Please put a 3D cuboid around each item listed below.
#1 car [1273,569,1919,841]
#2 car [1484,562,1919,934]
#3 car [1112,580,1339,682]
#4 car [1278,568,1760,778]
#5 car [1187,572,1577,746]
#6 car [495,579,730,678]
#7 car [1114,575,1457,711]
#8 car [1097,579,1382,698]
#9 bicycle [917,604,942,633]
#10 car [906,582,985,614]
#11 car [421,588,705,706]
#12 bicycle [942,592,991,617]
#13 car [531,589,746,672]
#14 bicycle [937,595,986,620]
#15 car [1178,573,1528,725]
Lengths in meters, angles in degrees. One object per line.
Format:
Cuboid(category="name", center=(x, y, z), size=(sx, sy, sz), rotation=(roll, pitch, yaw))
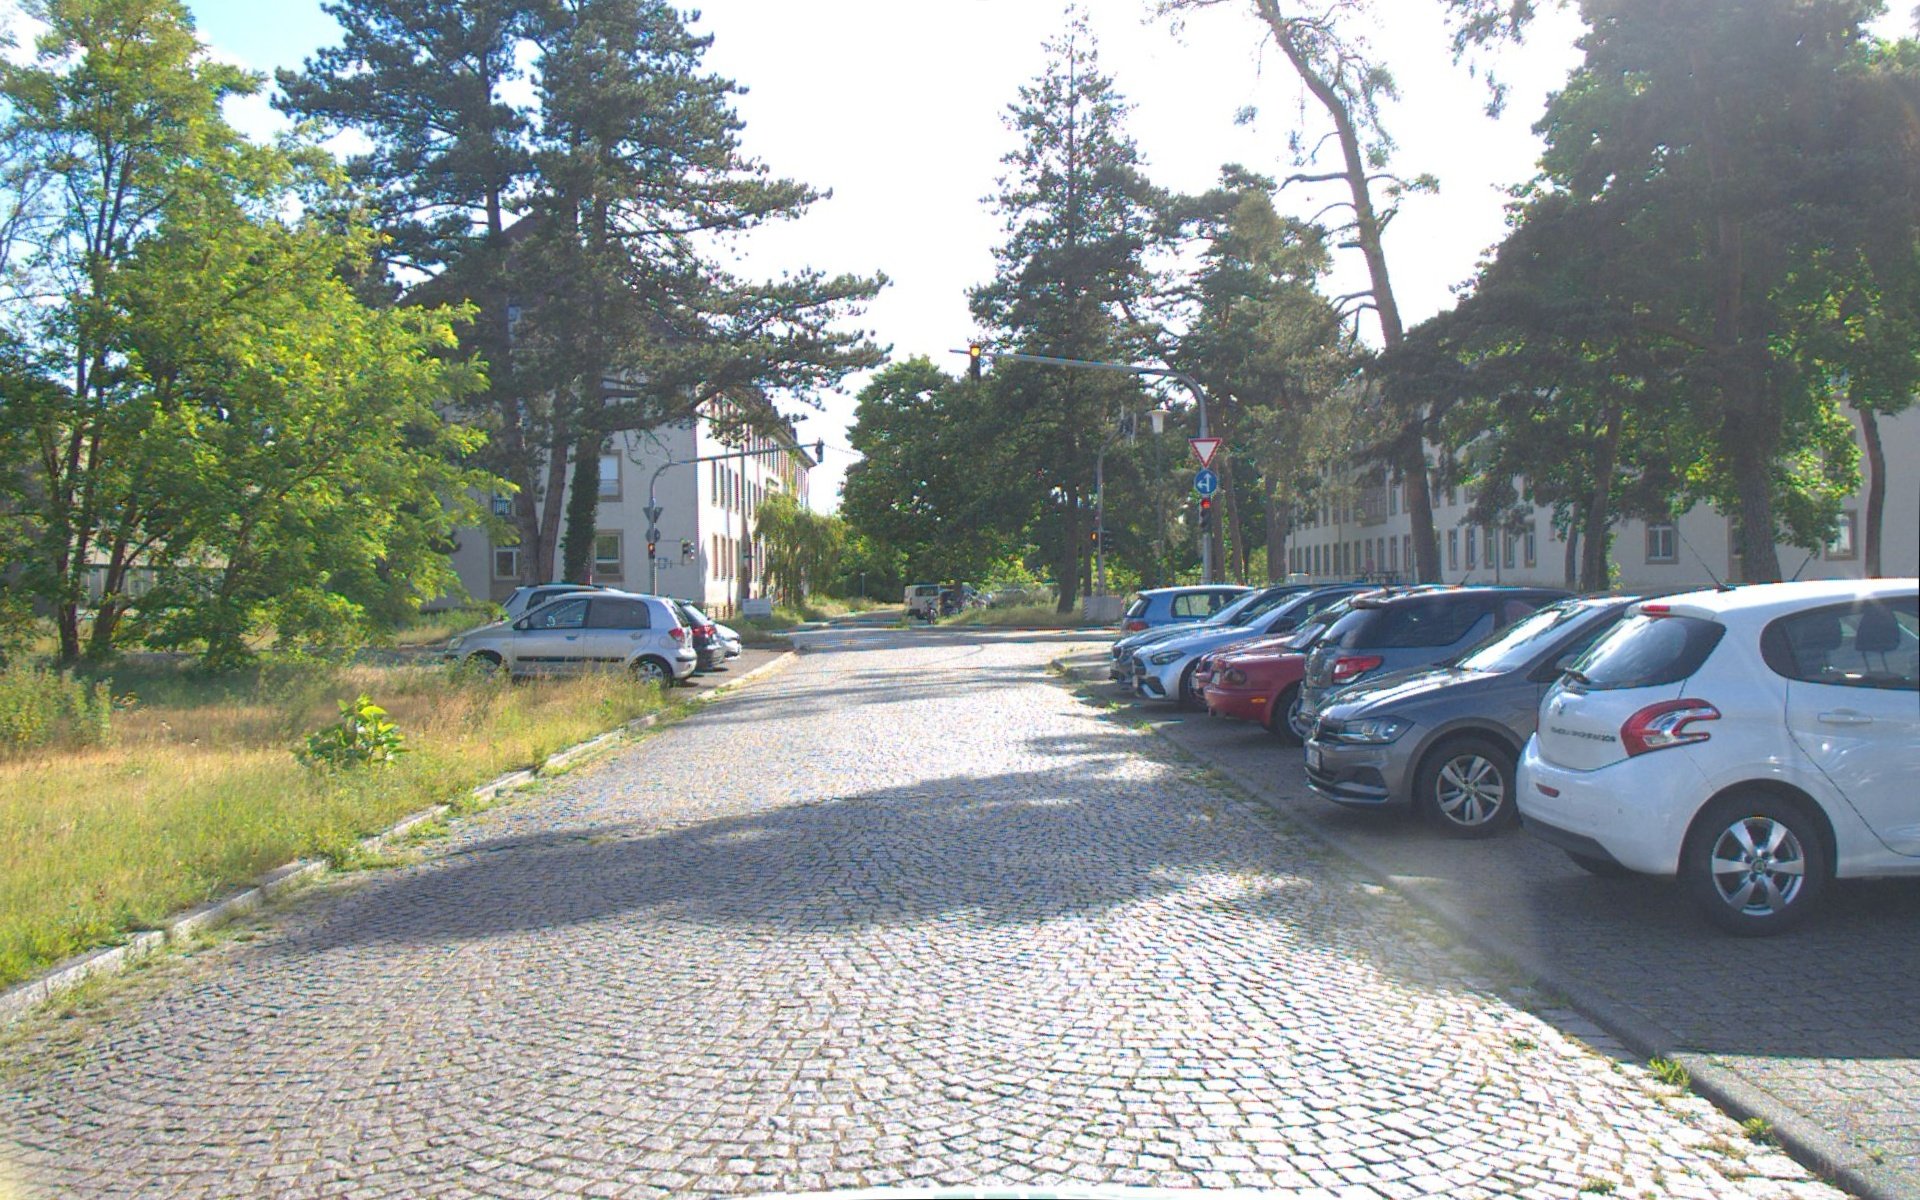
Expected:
Cuboid(category="car", center=(4.036, 0.618, 10.777), size=(3.602, 1.492, 1.645), rotation=(-2, 0, -3))
Cuboid(category="car", center=(4.604, 0.578, 7.903), size=(3.619, 1.491, 1.645), rotation=(-3, 0, -1))
Cuboid(category="car", center=(4.179, 0.470, 26.344), size=(3.276, 1.508, 1.645), rotation=(-1, 0, -3))
Cuboid(category="car", center=(4.528, 0.556, 13.708), size=(3.408, 1.556, 1.645), rotation=(-1, 0, -3))
Cuboid(category="car", center=(4.095, 0.543, 16.390), size=(3.408, 1.556, 1.645), rotation=(-1, 0, -3))
Cuboid(category="car", center=(-6.378, 0.500, 30.699), size=(3.907, 1.629, 1.999), rotation=(2, 0, -2))
Cuboid(category="car", center=(4.051, 0.511, 20.929), size=(3.955, 1.556, 1.644), rotation=(-1, 0, -5))
Cuboid(category="car", center=(3.941, 0.517, 23.698), size=(3.759, 1.556, 1.645), rotation=(-1, 0, -3))
Cuboid(category="bicycle", center=(-1.331, 0.781, 71.746), size=(0.789, 1.190, 2.177), rotation=(-3, 1, -7))
Cuboid(category="car", center=(-0.819, -0.126, 92.692), size=(4.390, 1.758, 1.999), rotation=(-1, 0, -2))
Cuboid(category="car", center=(-5.982, 0.676, 25.319), size=(3.908, 1.628, 1.998), rotation=(-1, 0, -4))
Cuboid(category="bicycle", center=(0.299, 0.193, 76.384), size=(2.134, 1.119, 0.805), rotation=(-1, 0, -11))
Cuboid(category="car", center=(-6.359, 0.586, 33.101), size=(3.907, 1.478, 1.999), rotation=(2, 0, -2))
Cuboid(category="bicycle", center=(0.059, 0.330, 75.241), size=(2.134, 1.119, 0.805), rotation=(-1, 0, -11))
Cuboid(category="car", center=(4.381, 0.520, 18.754), size=(3.531, 1.556, 1.645), rotation=(-1, 0, -3))
